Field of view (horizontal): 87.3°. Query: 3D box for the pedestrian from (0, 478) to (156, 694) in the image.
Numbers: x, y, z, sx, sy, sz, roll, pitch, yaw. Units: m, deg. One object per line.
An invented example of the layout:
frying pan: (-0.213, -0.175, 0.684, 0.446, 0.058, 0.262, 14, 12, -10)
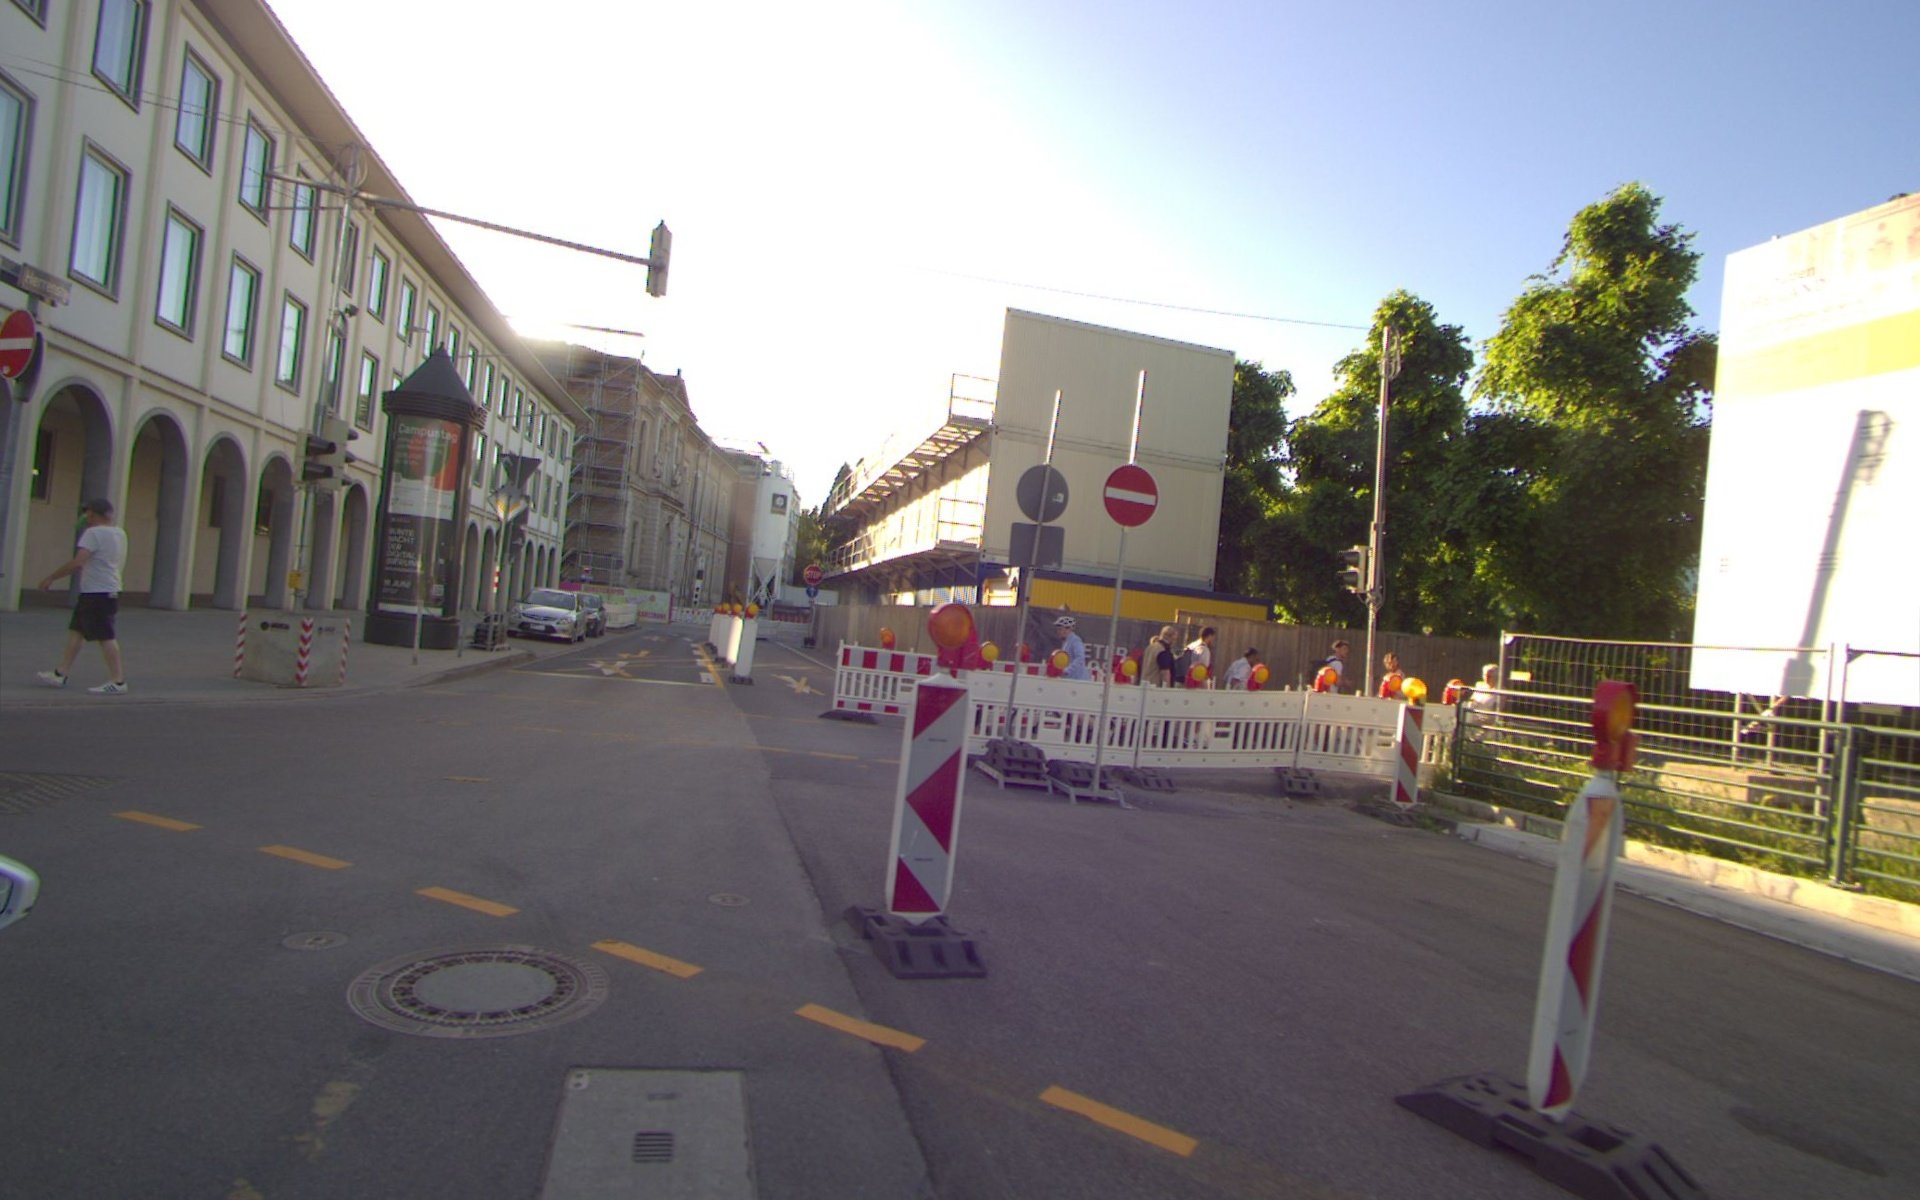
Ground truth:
pedestrian: (-8.005, -0.123, 8.923, 0.963, 1.749, 0.796, 7, -1, -16)

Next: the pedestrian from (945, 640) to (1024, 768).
pedestrian: (0.267, 1.162, 11.354, 0.610, 1.315, 0.492, 8, 0, -14)

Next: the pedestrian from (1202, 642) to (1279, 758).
pedestrian: (4.229, 1.497, 15.206, 0.758, 1.639, 0.664, 5, 1, -13)

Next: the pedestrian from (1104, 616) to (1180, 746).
pedestrian: (2.642, 1.168, 14.666, 0.727, 1.794, 0.721, 5, 1, -13)

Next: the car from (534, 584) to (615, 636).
car: (-13.534, 0.403, 35.553, 1.900, 1.482, 3.995, 8, -3, -12)

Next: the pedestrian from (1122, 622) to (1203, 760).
pedestrian: (2.684, 1.198, 13.376, 0.727, 1.738, 0.620, 5, 1, -13)

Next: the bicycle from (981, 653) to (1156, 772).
bicycle: (1.326, 1.378, 12.392, 1.964, 1.216, 0.476, 7, 0, -6)

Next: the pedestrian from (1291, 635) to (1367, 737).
pedestrian: (5.765, 1.334, 15.737, 0.758, 1.481, 0.664, 5, 1, -13)

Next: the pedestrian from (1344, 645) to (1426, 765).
pedestrian: (6.141, 1.505, 14.557, 0.727, 1.624, 0.642, 5, 1, -13)

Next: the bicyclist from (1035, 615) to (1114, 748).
bicyclist: (1.405, 0.983, 12.441, 0.691, 1.534, 0.686, 6, 0, -6)

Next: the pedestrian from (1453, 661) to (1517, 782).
pedestrian: (7.392, 1.681, 14.182, 0.654, 1.586, 0.744, 5, 1, 27)

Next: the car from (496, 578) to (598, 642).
car: (-11.947, 0.339, 29.346, 1.900, 1.482, 3.995, 8, -3, -12)

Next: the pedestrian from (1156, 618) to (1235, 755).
pedestrian: (3.247, 1.188, 13.922, 0.727, 1.794, 0.620, 5, 1, -13)
